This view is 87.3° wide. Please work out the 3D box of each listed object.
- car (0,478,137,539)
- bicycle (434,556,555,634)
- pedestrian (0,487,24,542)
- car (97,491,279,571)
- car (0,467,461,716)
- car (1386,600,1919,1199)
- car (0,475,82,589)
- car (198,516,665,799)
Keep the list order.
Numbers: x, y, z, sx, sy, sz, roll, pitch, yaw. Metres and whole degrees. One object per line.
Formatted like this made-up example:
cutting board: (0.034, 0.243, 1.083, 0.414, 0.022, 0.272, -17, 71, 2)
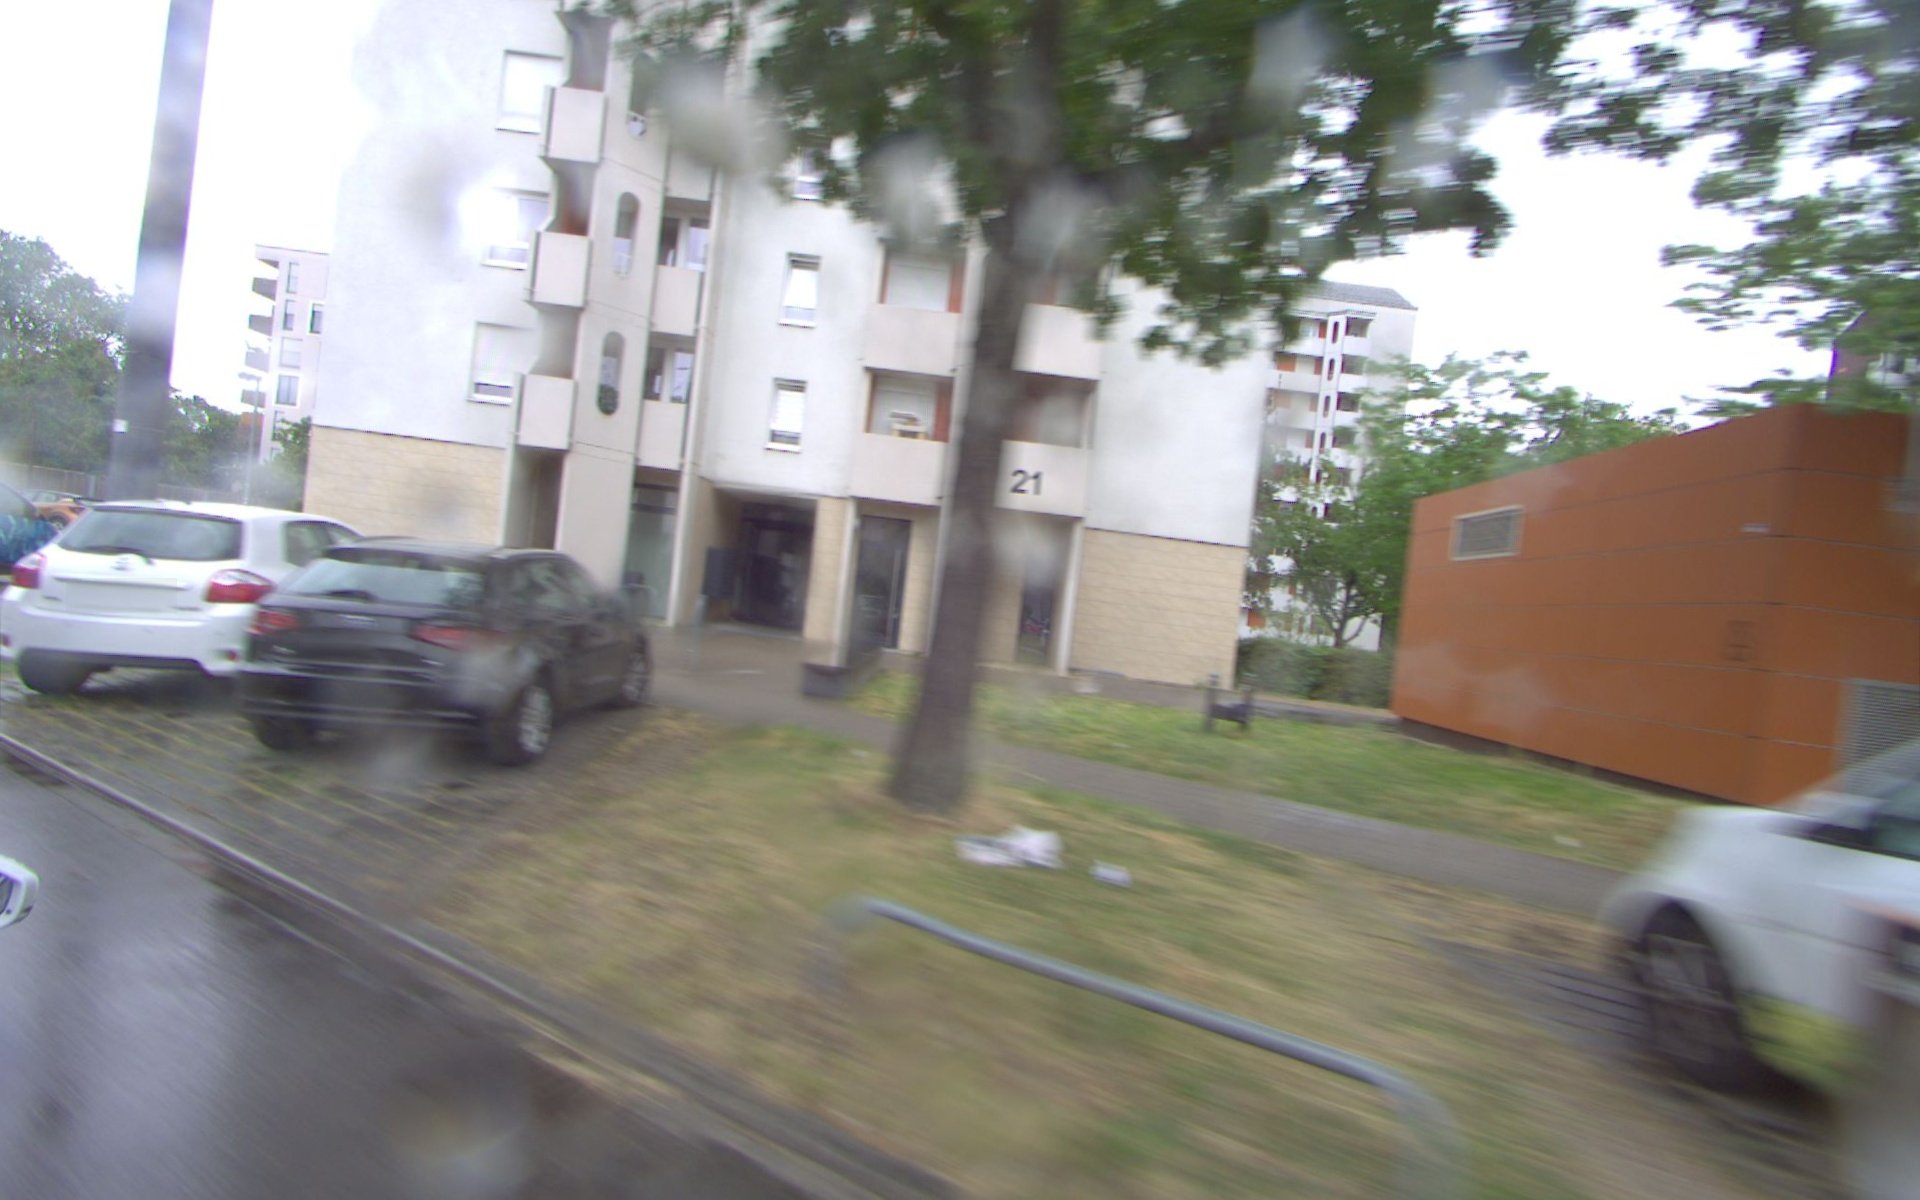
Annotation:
car: (-29.832, -3.039, 33.055, 3.924, 1.458, 2.002, 7, -1, 4)
bicycle: (-7.383, -0.096, 15.920, 2.024, 1.018, 0.662, 6, -1, 32)
pedestrian: (-28.473, -2.574, 29.514, 1.074, 1.535, 0.838, 6, -1, 3)
car: (-21.976, -1.911, 28.870, 1.781, 1.635, 4.116, 8, -1, 2)
car: (-6.227, -0.164, 9.059, 1.734, 1.569, 4.175, 6, 3, -8)
car: (3.483, 1.041, 3.634, 1.654, 1.694, 4.177, 6, 3, -5)
car: (-14.018, -1.017, 13.903, 1.575, 1.567, 2.561, 6, 0, -8)
car: (-3.586, 0.248, 7.703, 1.654, 1.451, 3.937, 6, 3, -5)
